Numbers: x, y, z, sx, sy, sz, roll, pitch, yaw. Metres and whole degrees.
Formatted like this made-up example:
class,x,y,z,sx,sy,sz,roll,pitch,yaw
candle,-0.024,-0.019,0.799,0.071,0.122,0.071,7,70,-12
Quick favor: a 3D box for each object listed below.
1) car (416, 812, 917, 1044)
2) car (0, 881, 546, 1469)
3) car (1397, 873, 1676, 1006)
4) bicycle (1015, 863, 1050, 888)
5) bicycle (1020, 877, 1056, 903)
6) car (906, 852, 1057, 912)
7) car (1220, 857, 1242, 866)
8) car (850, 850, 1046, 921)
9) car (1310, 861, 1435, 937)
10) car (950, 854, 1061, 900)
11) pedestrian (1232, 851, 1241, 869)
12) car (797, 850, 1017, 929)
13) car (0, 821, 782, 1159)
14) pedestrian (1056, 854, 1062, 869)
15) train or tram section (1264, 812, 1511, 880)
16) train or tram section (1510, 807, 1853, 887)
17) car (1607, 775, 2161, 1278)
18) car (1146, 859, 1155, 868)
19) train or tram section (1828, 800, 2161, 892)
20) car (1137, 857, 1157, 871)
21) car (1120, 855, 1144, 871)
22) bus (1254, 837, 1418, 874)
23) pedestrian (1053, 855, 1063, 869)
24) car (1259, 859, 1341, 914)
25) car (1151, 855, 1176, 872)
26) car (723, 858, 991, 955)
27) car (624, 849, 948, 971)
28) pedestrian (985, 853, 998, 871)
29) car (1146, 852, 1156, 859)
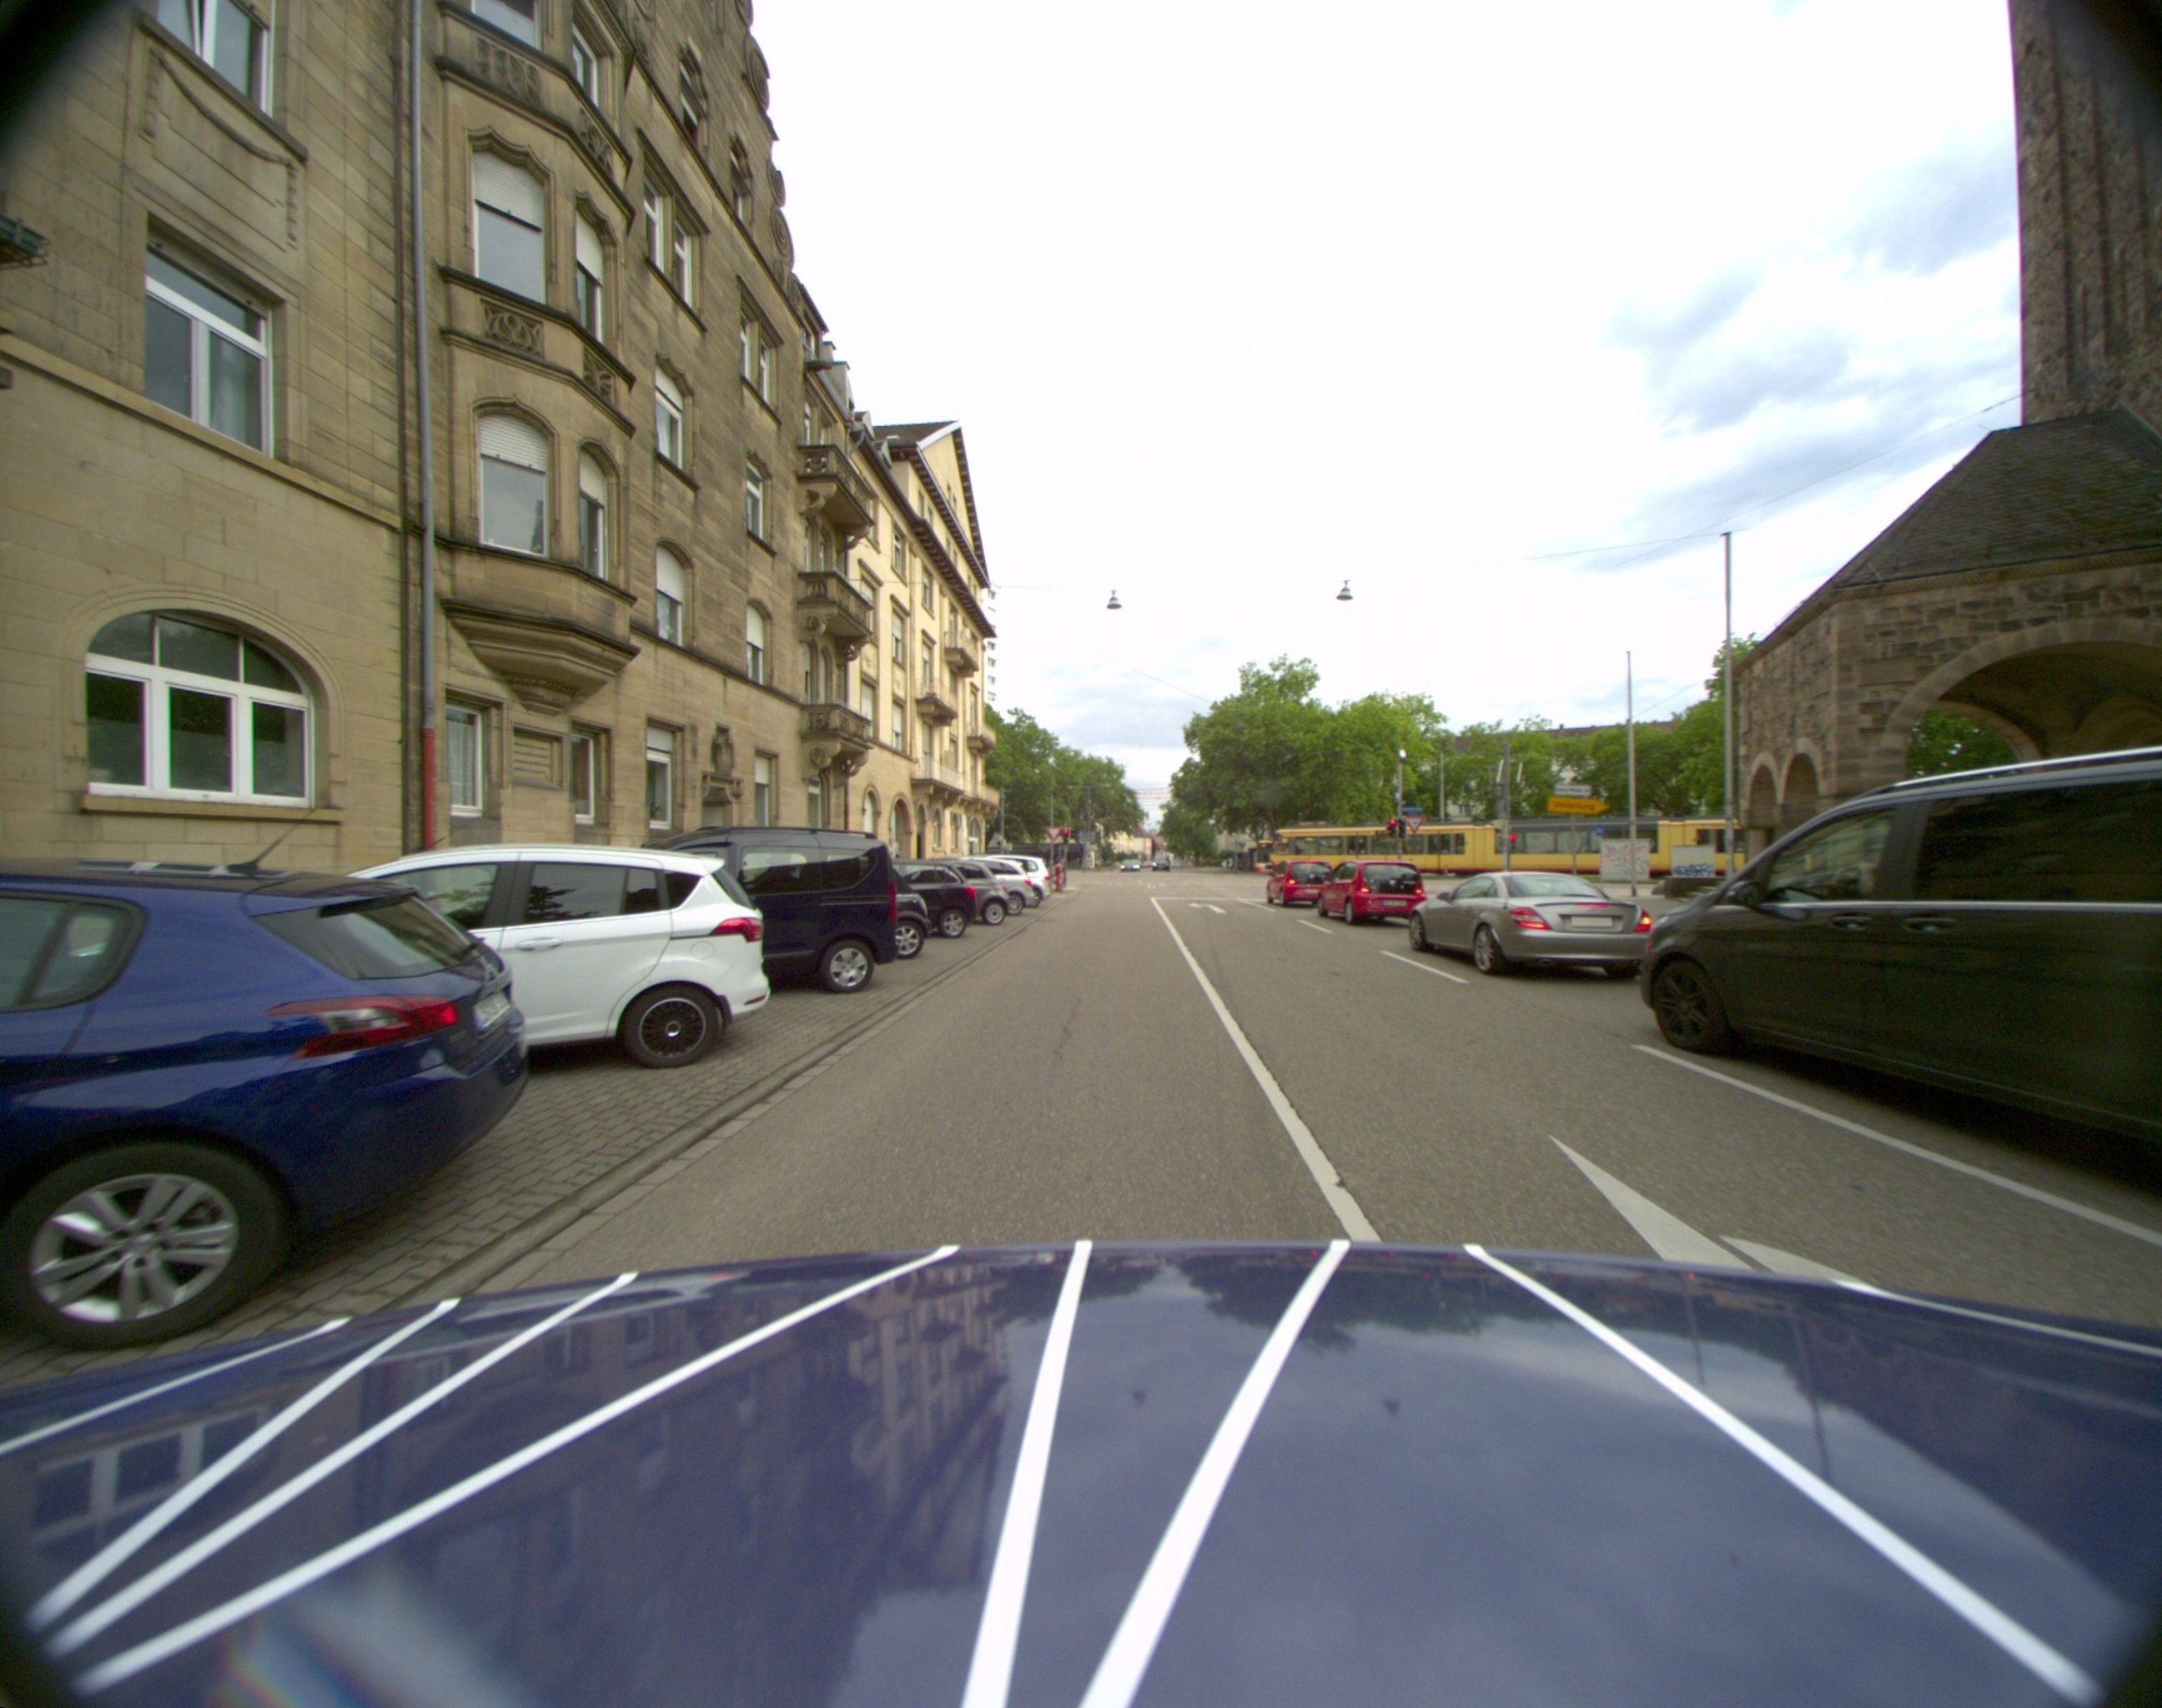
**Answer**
class,x,y,z,sx,sy,sz,roll,pitch,yaw
car,-4.211,0.699,8.225,4.292,1.895,1.874,4,-1,-37
car,-4.423,0.882,2.496,4.006,1.524,1.928,3,-1,-25
car,5.905,0.998,10.488,1.708,1.279,4.043,2,1,6
bicycle,-2.314,1.033,36.460,1.570,1.121,0.476,3,2,3
bicycle,-1.985,1.684,35.443,1.570,1.121,0.476,3,2,3
car,-3.097,0.856,23.765,4.232,1.673,1.911,2,1,-30
car,24.803,1.177,125.791,1.804,1.477,3.992,0,0,-21
car,-3.523,0.845,20.484,4.761,1.675,1.931,2,1,-32
car,6.597,0.942,17.607,1.606,1.448,3.719,2,1,3
car,-2.865,0.917,29.333,3.843,1.552,1.789,4,1,-42
pedestrian,16.723,0.650,81.669,0.689,1.876,0.687,-1,2,-23
car,-3.879,0.815,17.272,4.475,1.564,1.742,3,-1,-35
car,-4.398,0.719,5.188,4.009,1.592,1.761,4,-1,-36
pedestrian,-2.326,0.769,79.901,0.524,1.603,0.526,0,2,-3
train or tram section,20.242,-0.530,51.092,14.997,4.070,3.661,0,2,30
train or tram section,33.278,-0.418,43.591,14.997,4.070,3.588,0,2,30
car,5.192,0.666,3.703,1.916,1.943,5.285,0,0,4
car,16.593,2.367,181.522,1.998,2.002,4.001,0,1,5
train or tram section,48.433,-0.383,34.865,19.892,4.070,3.634,0,2,30
car,8.386,1.267,95.854,1.660,1.708,3.746,0,-2,19
car,5.969,1.039,88.194,1.660,1.708,3.747,0,-2,22
bus,20.793,0.048,62.490,12.346,2.840,3.298,0,2,29
pedestrian,-2.525,0.860,83.174,0.851,1.500,0.555,0,2,21
car,6.718,0.961,23.698,1.652,1.519,3.895,2,-1,4
car,9.406,1.093,86.396,1.908,1.708,3.747,0,-2,22
car,-4.134,0.897,14.318,4.474,1.543,1.847,1,0,-35
car,-4.333,0.809,11.351,4.080,1.445,2.026,4,0,-35
pedestrian,-8.300,0.745,70.649,0.876,1.686,0.744,0,2,29
car,21.135,0.420,229.080,1.995,2.002,4.005,0,1,20
